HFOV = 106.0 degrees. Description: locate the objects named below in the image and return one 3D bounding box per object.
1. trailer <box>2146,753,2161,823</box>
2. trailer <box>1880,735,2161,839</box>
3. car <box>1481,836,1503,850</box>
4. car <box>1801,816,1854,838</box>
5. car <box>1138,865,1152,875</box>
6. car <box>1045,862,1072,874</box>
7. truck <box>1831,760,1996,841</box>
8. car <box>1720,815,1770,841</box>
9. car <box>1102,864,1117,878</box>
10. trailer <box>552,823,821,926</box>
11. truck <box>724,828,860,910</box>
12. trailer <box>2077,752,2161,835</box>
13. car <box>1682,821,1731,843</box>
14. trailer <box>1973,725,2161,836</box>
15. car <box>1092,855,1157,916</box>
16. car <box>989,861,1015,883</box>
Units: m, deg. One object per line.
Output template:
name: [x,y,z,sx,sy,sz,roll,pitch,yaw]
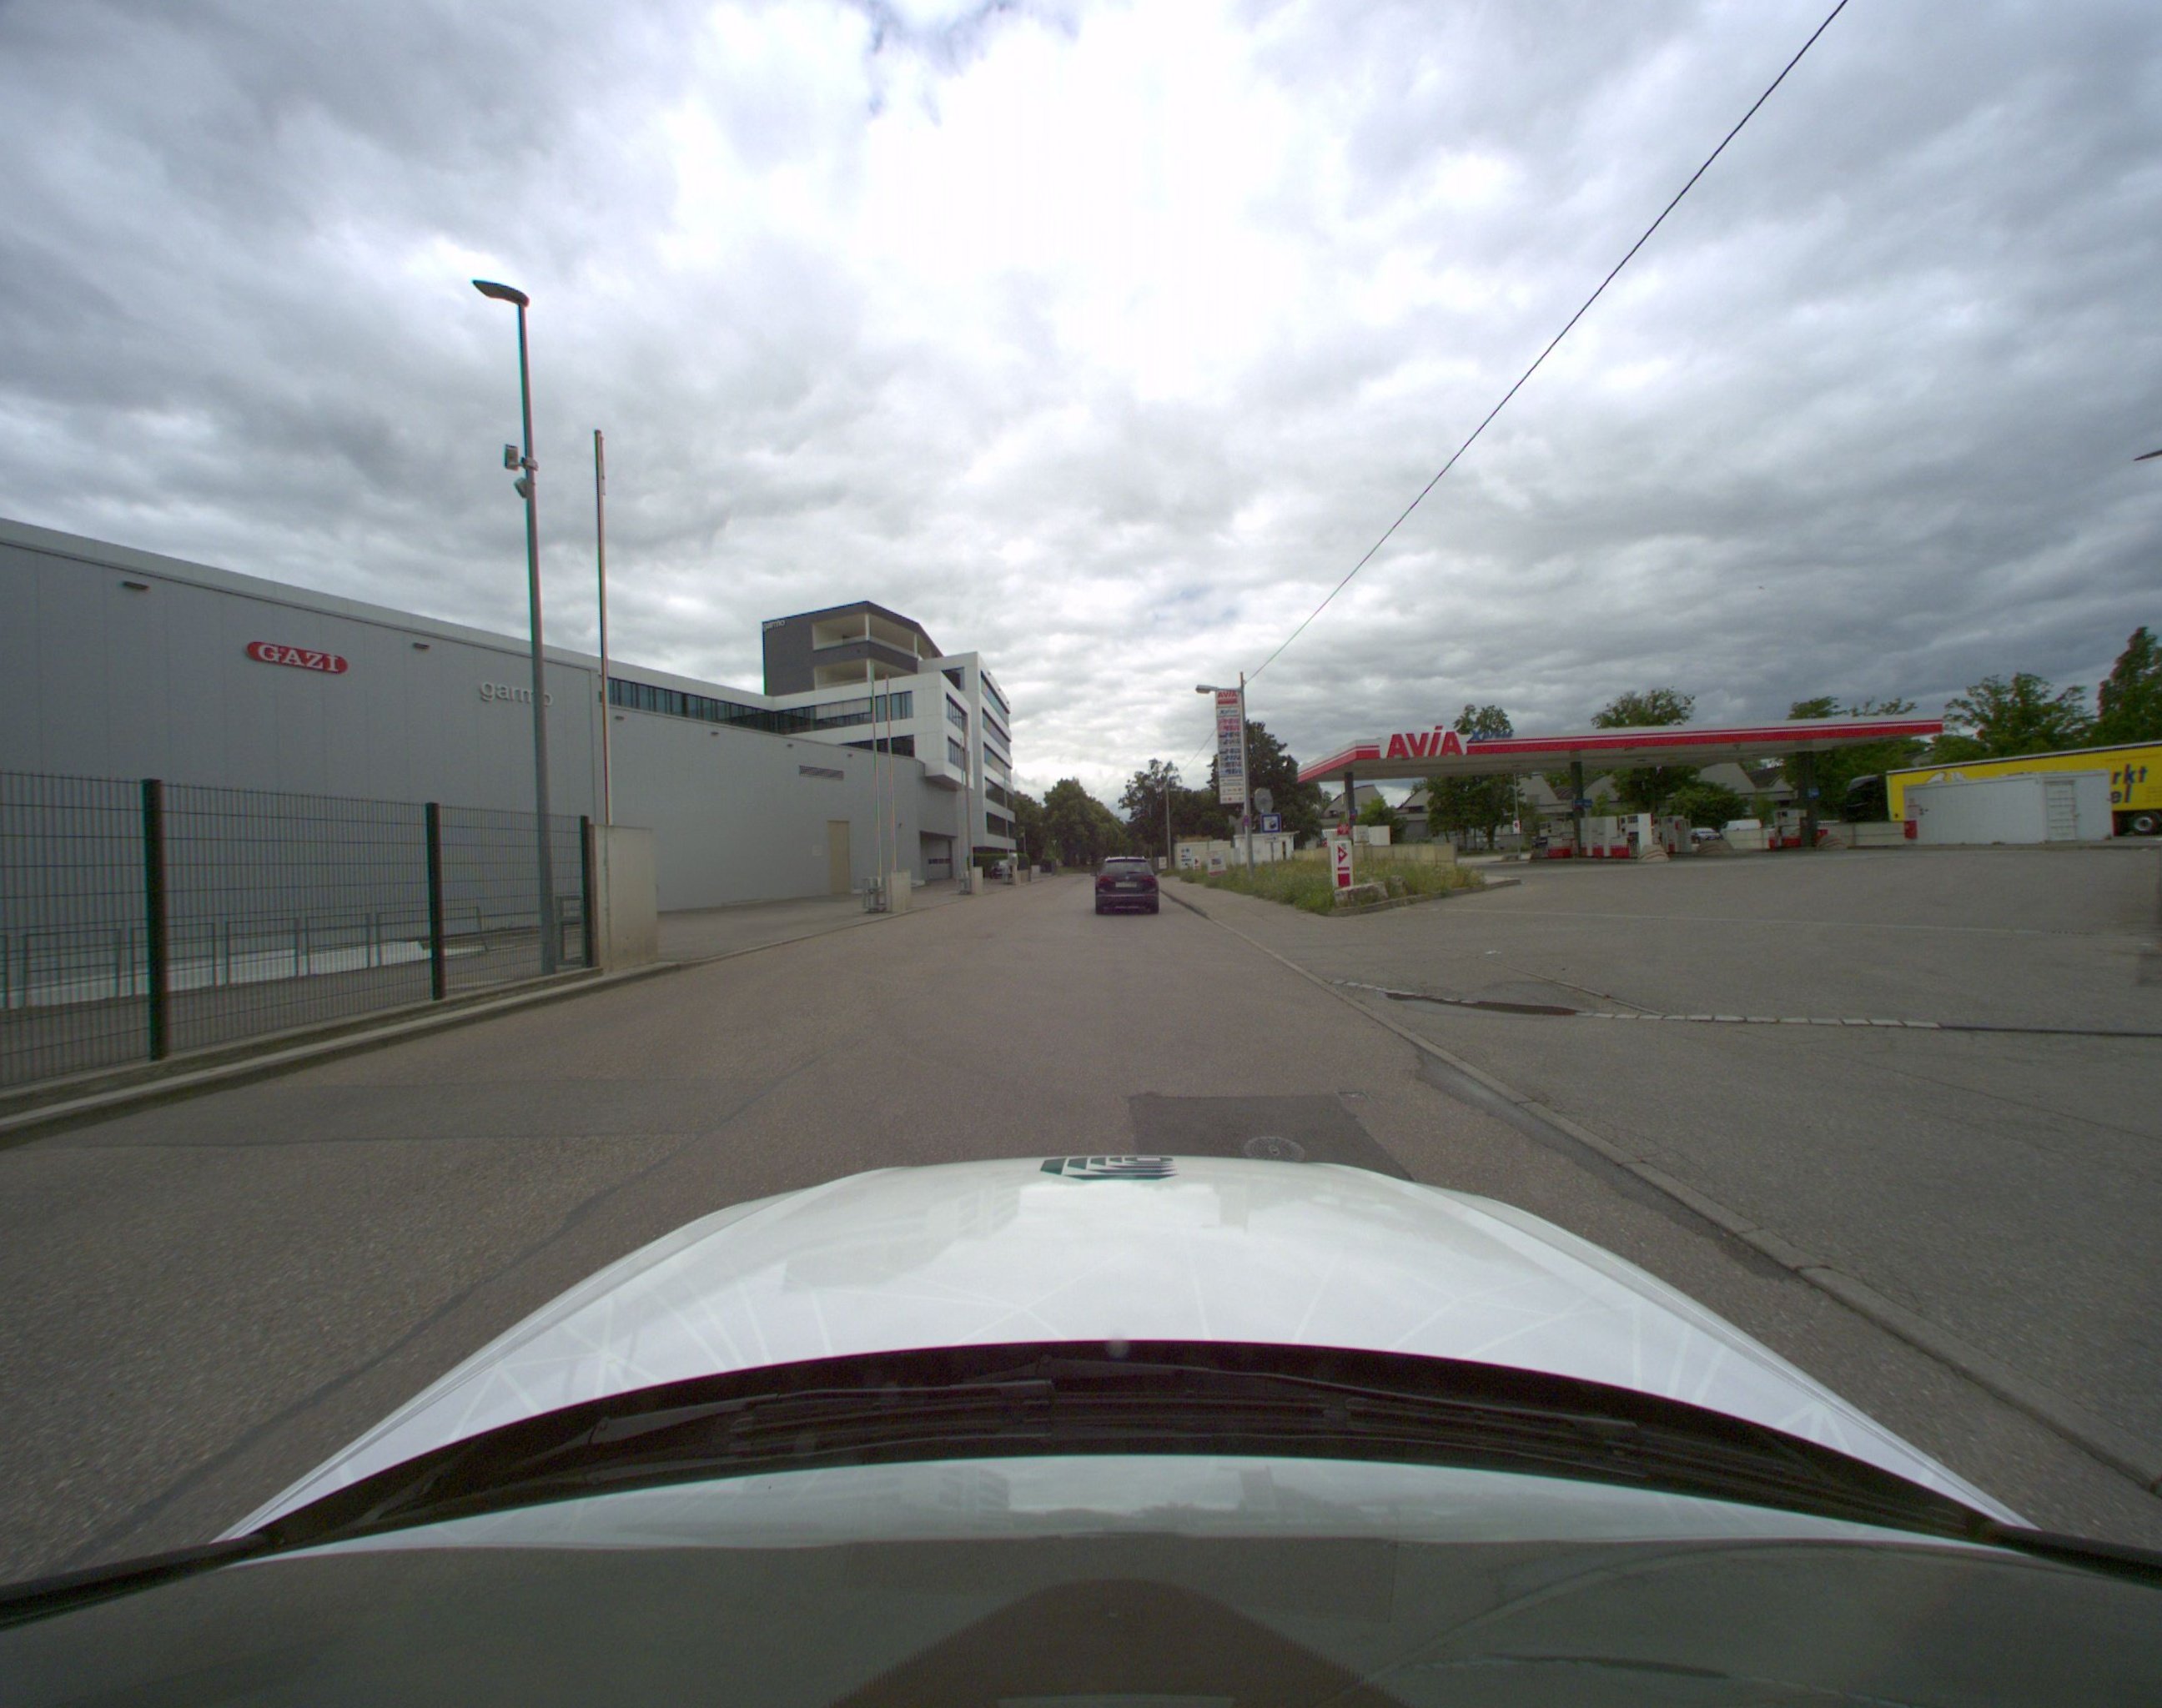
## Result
trailer: [62.287,-3.929,37.600,2.681,3.915,18.074,-3,-1,1]
trailer: [46.281,-2.963,38.483,2.989,3.915,14.303,-3,-1,1]
car: [49.089,-1.284,97.415,1.888,1.521,4.085,-4,0,21]
car: [63.580,-2.276,69.431,1.885,1.651,4.422,-4,-1,23]
car: [12.022,2.978,152.708,1.980,1.786,4.014,-2,-1,13]
car: [-5.295,3.315,194.199,6.043,2.387,2.397,-3,-1,4]
truck: [46.414,-2.863,45.705,2.946,3.915,6.041,-3,-1,1]
car: [58.812,-2.249,72.268,2.076,2.103,4.930,-4,-1,23]
car: [3.715,2.167,104.722,1.832,1.616,4.002,-3,-1,2]
trailer: [-17.716,0.789,38.395,2.718,4.031,12.686,-3,0,22]
truck: [-15.390,0.751,44.043,2.718,4.031,7.131,-3,-1,22]
trailer: [58.526,-3.382,38.746,3.009,4.260,15.727,-3,-1,1]
car: [56.121,-1.929,73.199,2.077,1.737,4.908,-4,-1,21]
trailer: [50.116,-3.529,37.191,2.989,4.723,14.303,-3,-1,1]
car: [1.325,0.879,24.122,1.731,1.618,3.645,-2,-1,4]
car: [-6.611,1.489,68.735,1.643,1.762,3.182,-1,-1,3]
